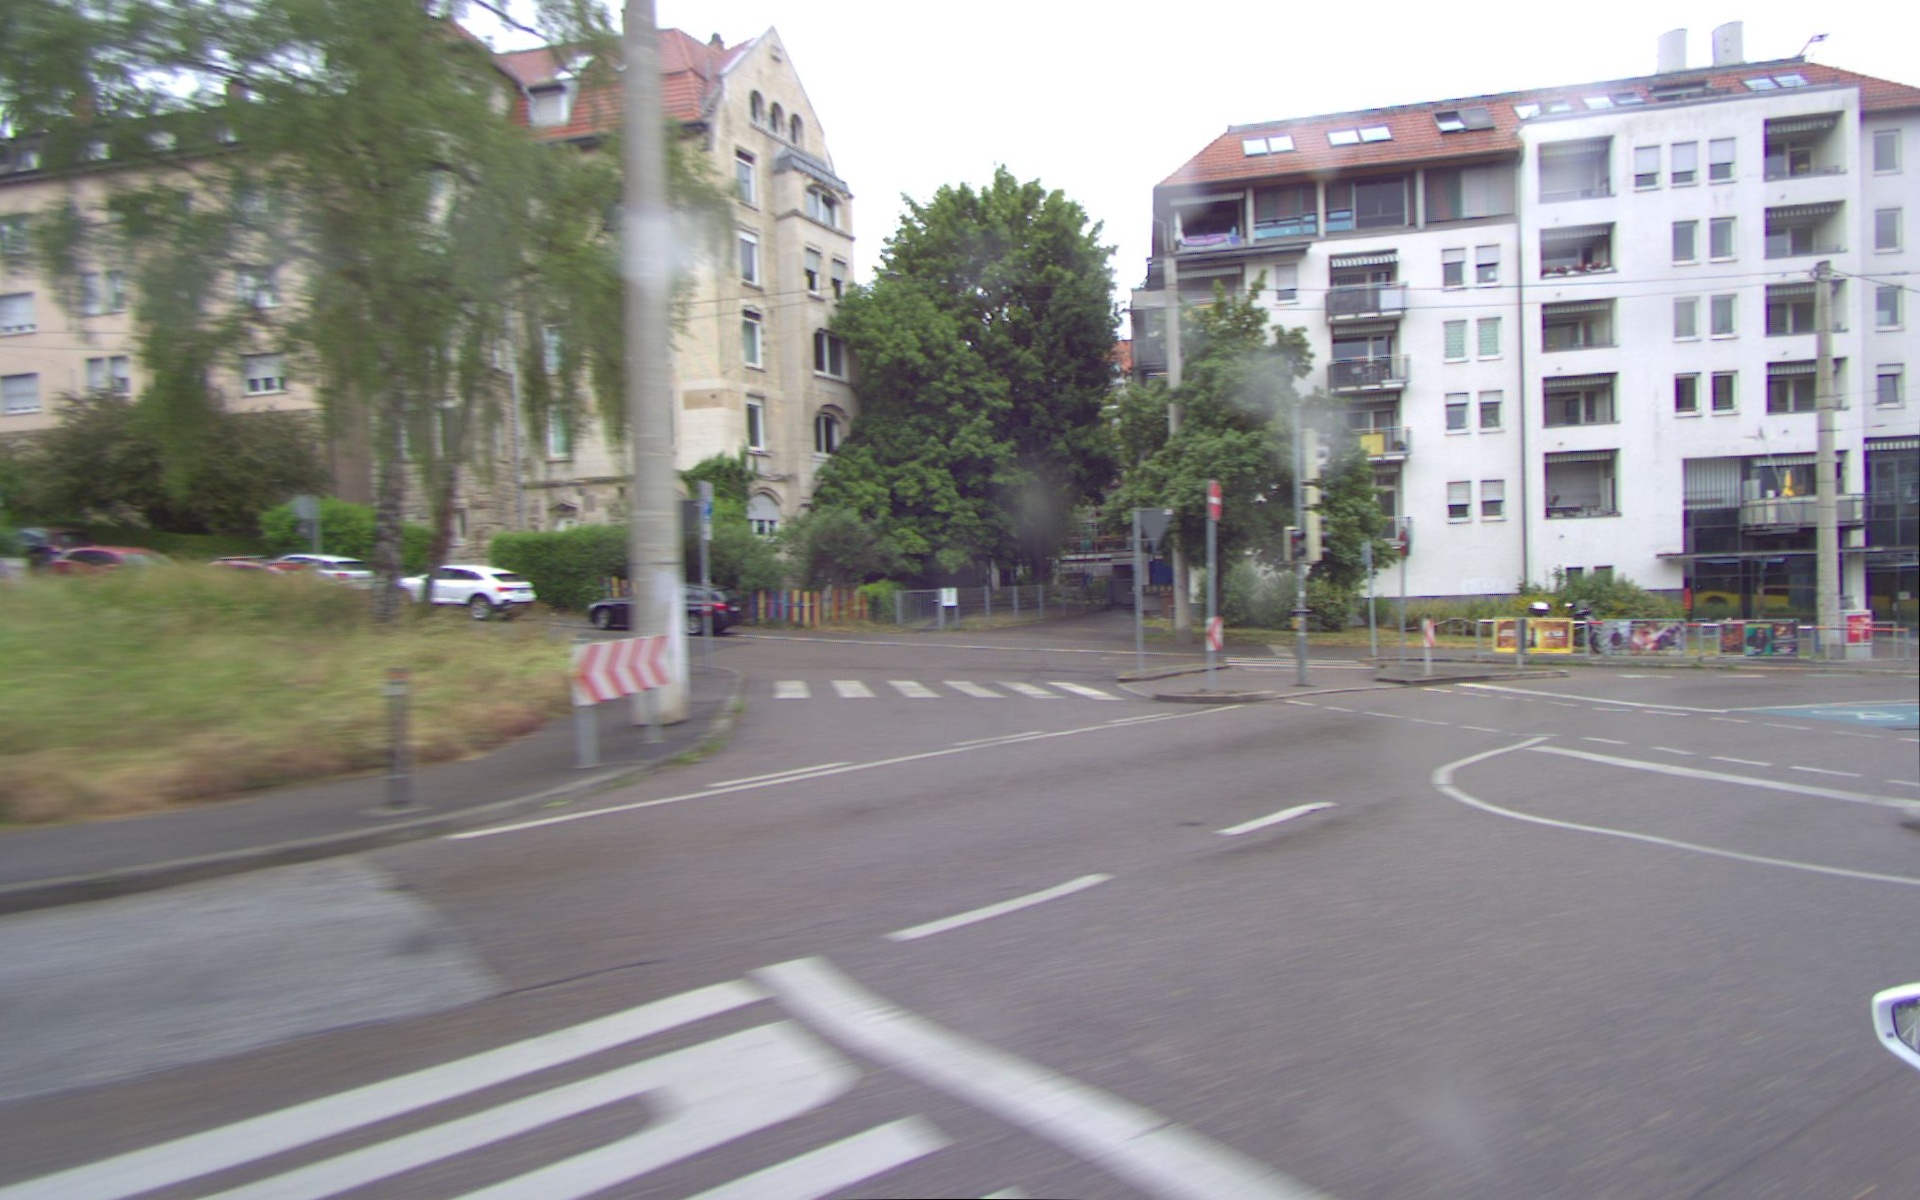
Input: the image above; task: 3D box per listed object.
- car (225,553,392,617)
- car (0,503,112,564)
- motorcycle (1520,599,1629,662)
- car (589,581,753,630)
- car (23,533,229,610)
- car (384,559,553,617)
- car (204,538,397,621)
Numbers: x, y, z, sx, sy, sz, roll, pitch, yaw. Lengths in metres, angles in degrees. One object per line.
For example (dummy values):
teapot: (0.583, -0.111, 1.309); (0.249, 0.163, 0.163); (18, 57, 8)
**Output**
car: (-20.565, -0.464, 31.780); (4.197, 1.859, 1.807); (1, -1, 8)
car: (-30.653, -2.205, 33.448); (3.592, 1.859, 1.682); (2, 0, 8)
motorcycle: (16.610, 0.825, 27.177); (2.392, 1.572, 0.699); (2, 4, 3)
car: (-8.398, 0.160, 29.312); (4.268, 1.239, 1.754); (2, 0, 14)
car: (-22.120, -0.738, 26.722); (4.197, 1.859, 1.807); (2, 0, 8)
car: (-15.085, -0.360, 30.935); (4.268, 1.615, 2.001); (2, 0, 10)
car: (-17.071, -0.516, 26.072); (3.919, 2.040, 2.001); (1, 0, 13)
